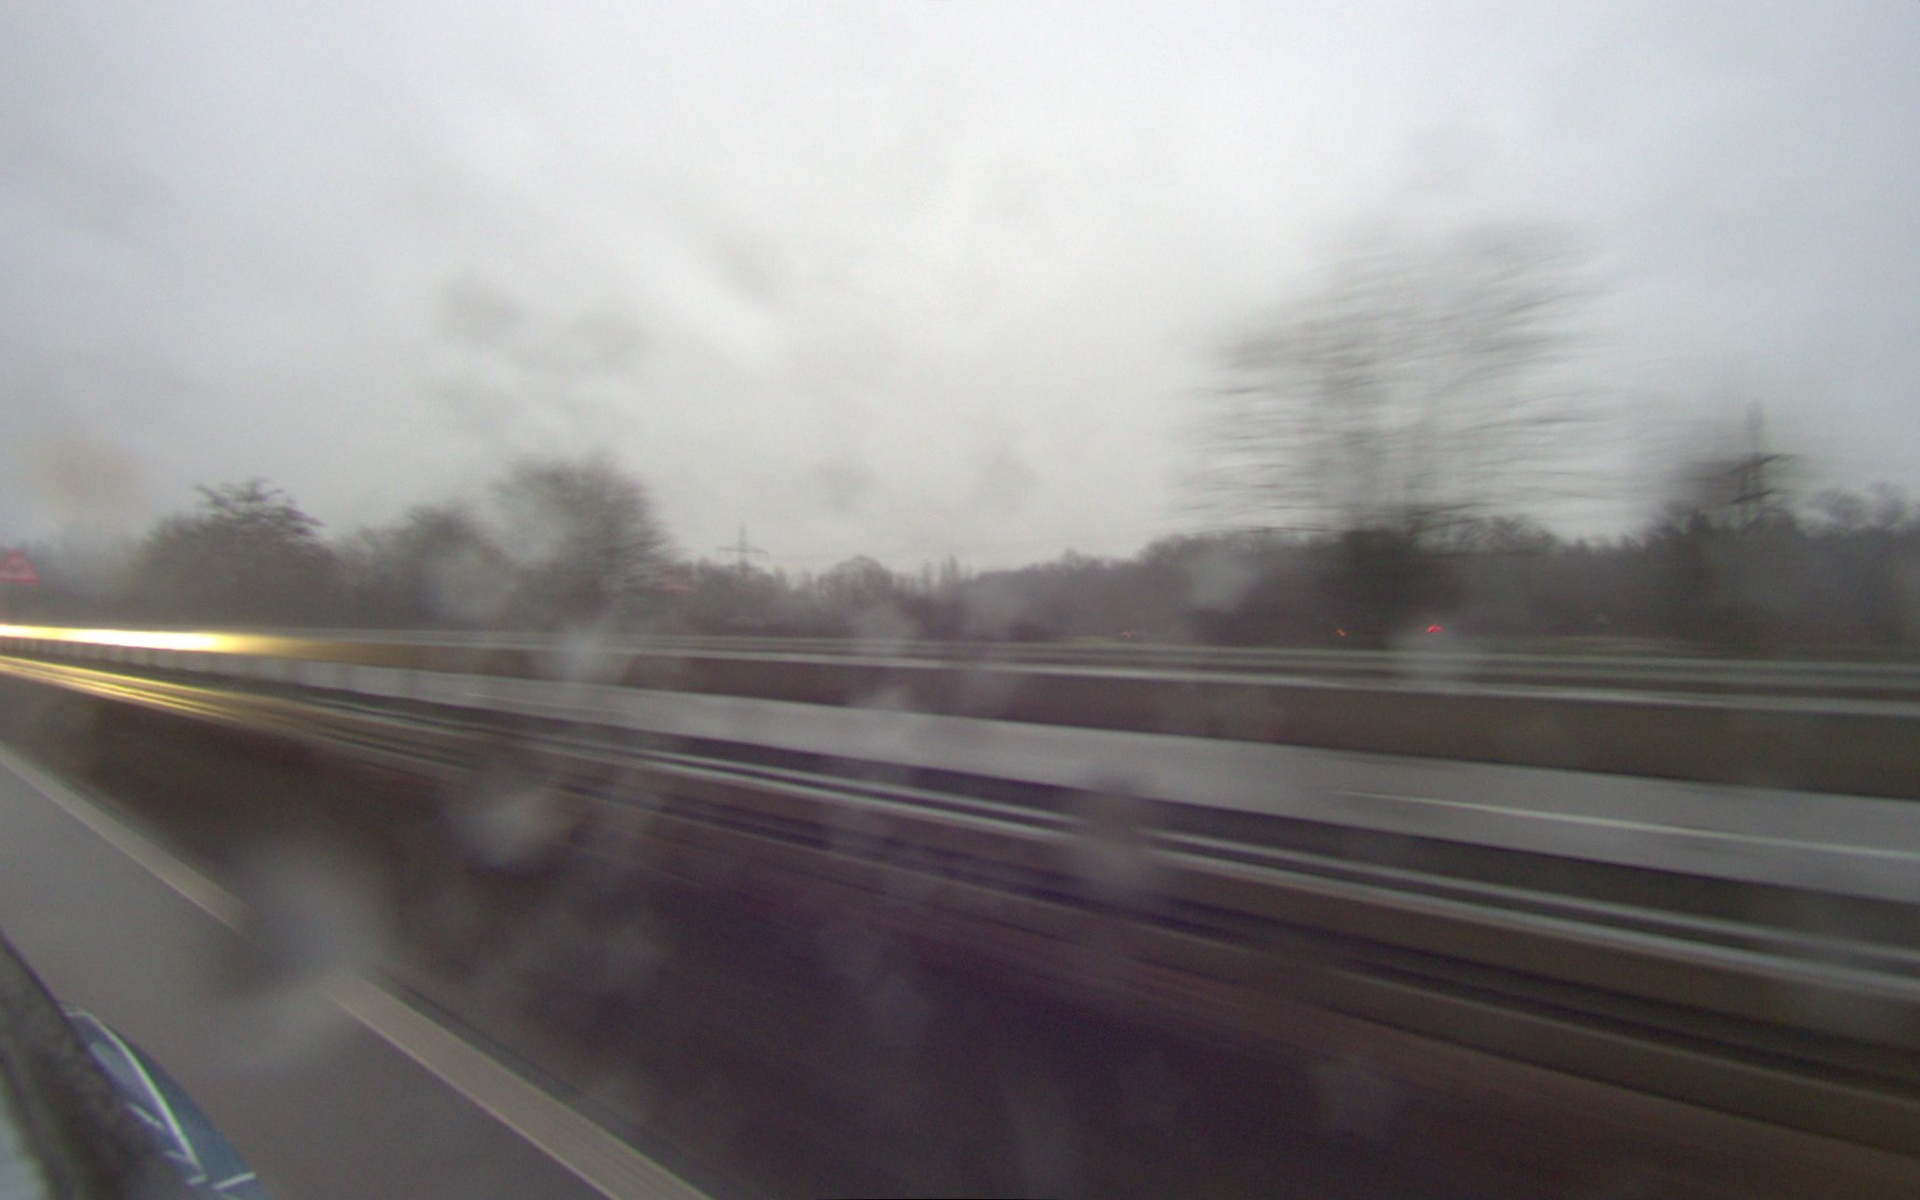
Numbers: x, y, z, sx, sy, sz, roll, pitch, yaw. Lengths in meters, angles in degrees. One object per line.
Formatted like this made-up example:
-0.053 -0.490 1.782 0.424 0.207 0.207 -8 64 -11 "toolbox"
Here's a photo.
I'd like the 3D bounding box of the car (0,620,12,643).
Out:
-60.683 1.967 63.290 3.996 1.375 1.518 -1 1 39 "car"
